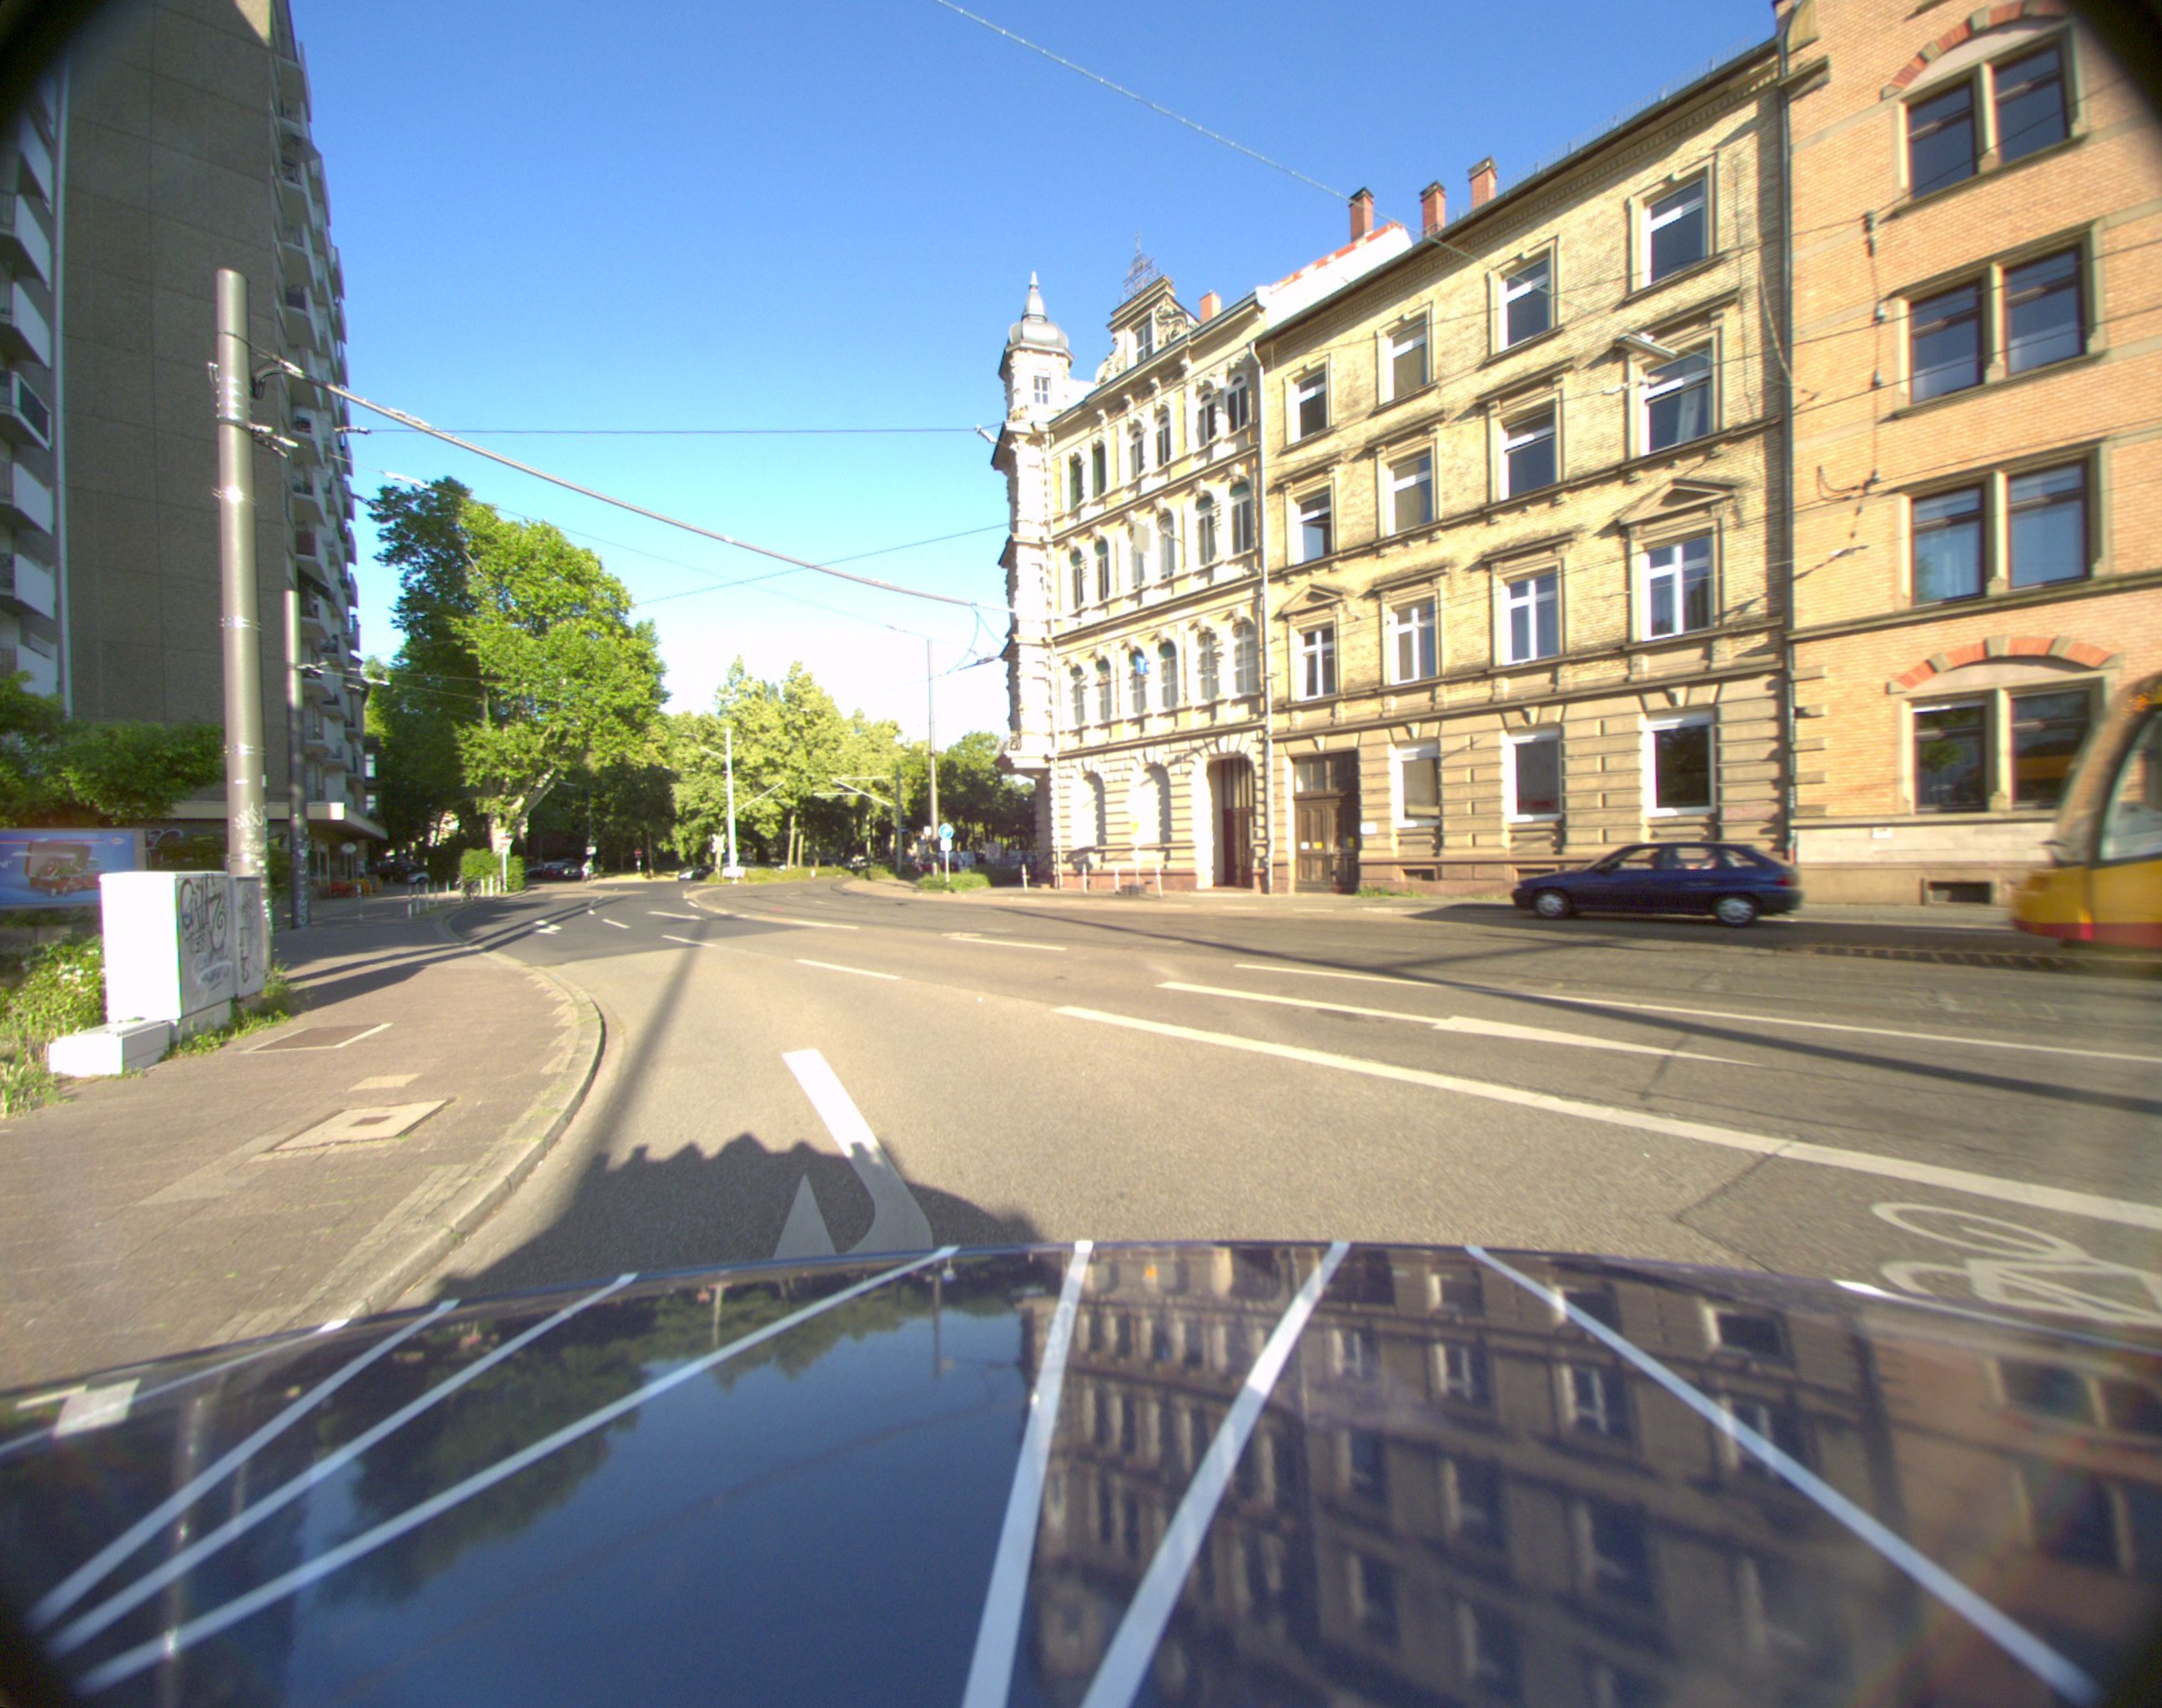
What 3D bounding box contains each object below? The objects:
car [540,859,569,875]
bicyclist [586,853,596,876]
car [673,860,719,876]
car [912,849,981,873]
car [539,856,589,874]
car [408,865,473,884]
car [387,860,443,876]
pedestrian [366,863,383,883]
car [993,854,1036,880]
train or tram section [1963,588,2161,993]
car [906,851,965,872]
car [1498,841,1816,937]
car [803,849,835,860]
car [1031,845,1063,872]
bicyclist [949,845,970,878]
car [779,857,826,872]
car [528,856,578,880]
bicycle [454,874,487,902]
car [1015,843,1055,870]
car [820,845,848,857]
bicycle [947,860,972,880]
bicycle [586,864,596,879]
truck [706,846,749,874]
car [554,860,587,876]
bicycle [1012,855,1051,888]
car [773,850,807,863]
[{"bbox_3d":[-51.361,1.279,74.065,3.915,1.440,1.538,-1,1,43],"label":"car"},{"bbox_3d":[-38.576,0.835,59.781,0.608,1.753,1.058,-2,1,-32],"label":"bicyclist"},{"bbox_3d":[-36.458,1.326,72.038,1.948,1.390,4.002,-1,0,7],"label":"car"},{"bbox_3d":[-10.737,0.543,60.487,5.048,1.778,2.003,-1,1,20],"label":"car"},{"bbox_3d":[-53.541,1.152,78.690,1.531,1.751,3.934,-1,1,40],"label":"car"},{"bbox_3d":[-54.620,1.715,64.828,1.881,1.499,4.008,-1,0,41],"label":"car"},{"bbox_3d":[-67.076,1.424,76.599,1.881,1.499,4.008,-1,0,41],"label":"car"},{"bbox_3d":[-74.708,2.007,80.354,1.203,2.002,1.216,-1,1,42],"label":"pedestrian"},{"bbox_3d":[-3.891,0.723,44.684,1.735,1.406,3.436,-1,0,8],"label":"car"},{"bbox_3d":[14.261,-0.652,3.590,2.875,3.487,12.978,-2,1,-45],"label":"train or tram section"},{"bbox_3d":[-11.133,0.575,58.221,3.991,1.499,1.871,-1,1,20],"label":"car"},{"bbox_3d":[9.780,0.527,13.137,1.818,1.372,4.151,-2,0,-44],"label":"car"},{"bbox_3d":[-40.871,0.059,118.417,4.348,1.696,2.003,-1,1,19],"label":"car"},{"bbox_3d":[-2.643,0.350,60.145,1.998,2.002,4.636,-1,0,3],"label":"car"},{"bbox_3d":[-6.886,0.408,43.150,0.729,1.829,1.213,-2,0,10],"label":"bicyclist"},{"bbox_3d":[-25.819,0.975,70.484,3.681,1.346,1.743,-1,1,15],"label":"car"},{"bbox_3d":[-55.654,1.473,80.132,1.531,2.392,3.934,-1,1,40],"label":"car"},{"bbox_3d":[-26.841,1.465,33.432,0.611,1.128,2.276,-2,1,-25],"label":"bicycle"},{"bbox_3d":[-2.950,0.157,49.391,1.735,1.652,4.002,-1,0,8],"label":"car"},{"bbox_3d":[-40.251,-0.481,123.673,3.991,1.740,1.887,-1,1,18],"label":"car"},{"bbox_3d":[-6.875,0.904,43.137,0.727,1.077,2.118,-2,0,9],"label":"bicycle"},{"bbox_3d":[-38.583,1.376,59.818,0.612,1.168,1.947,-2,1,-32],"label":"bicycle"},{"bbox_3d":[-36.010,0.580,77.536,1.999,2.767,4.883,-1,0,0],"label":"truck"},{"bbox_3d":[-47.231,1.275,70.227,3.621,1.440,1.744,-1,1,43],"label":"car"},{"bbox_3d":[-2.019,0.694,31.504,0.644,1.259,2.691,-1,0,17],"label":"bicycle"},{"bbox_3d":[-41.540,0.417,108.383,4.432,1.740,2.003,-1,1,26],"label":"car"}]
